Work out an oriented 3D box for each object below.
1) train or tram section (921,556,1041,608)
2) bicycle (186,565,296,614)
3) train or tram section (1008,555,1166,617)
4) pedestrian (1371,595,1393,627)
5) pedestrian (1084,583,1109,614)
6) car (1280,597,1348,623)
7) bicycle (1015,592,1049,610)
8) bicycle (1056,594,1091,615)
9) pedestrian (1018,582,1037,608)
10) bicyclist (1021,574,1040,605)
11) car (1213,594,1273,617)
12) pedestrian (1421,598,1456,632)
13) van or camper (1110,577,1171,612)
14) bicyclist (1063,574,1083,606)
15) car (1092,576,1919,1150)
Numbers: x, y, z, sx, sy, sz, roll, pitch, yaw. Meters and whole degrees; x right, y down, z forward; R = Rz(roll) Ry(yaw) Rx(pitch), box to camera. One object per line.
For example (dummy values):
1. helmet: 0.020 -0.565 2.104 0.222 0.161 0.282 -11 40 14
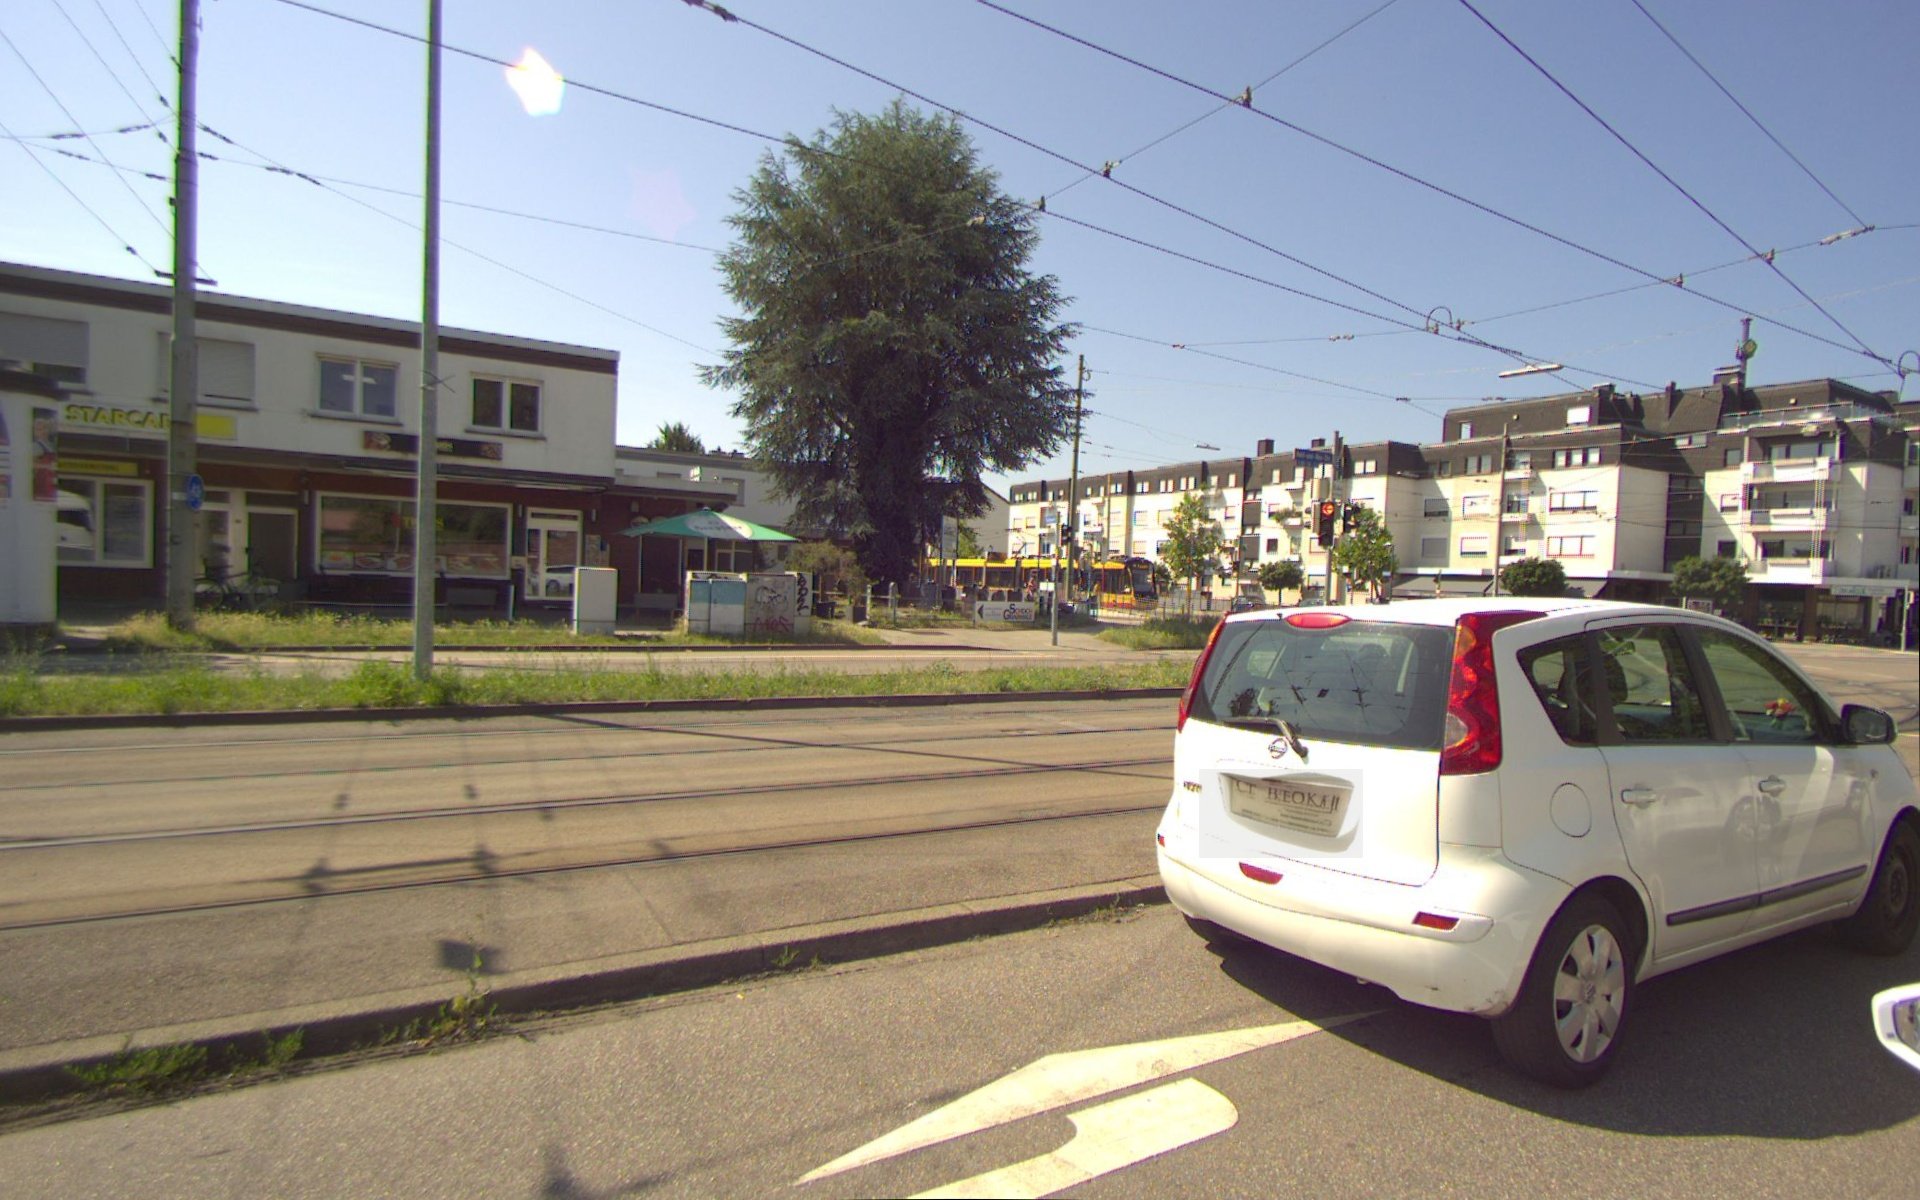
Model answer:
1. train or tram section: 1.365 -1.496 79.807 2.736 3.707 13.796 2 1 -30
2. bicycle: -15.833 -0.224 22.175 1.889 0.996 0.754 2 1 -30
3. train or tram section: 8.180 -1.072 67.818 2.736 3.707 13.796 2 1 -30
4. pedestrian: 24.147 0.611 57.457 0.798 1.783 0.761 2 1 -16
5. pedestrian: 8.330 -0.085 61.378 0.886 1.862 1.192 2 1 -30
6. car: 23.756 0.654 67.518 1.807 1.520 4.151 2 1 -30
7. bicycle: 3.847 0.060 53.791 0.570 0.902 2.114 1 1 -36
8. bicycle: 5.720 0.205 50.817 0.529 0.959 2.118 2 1 -31
9. pedestrian: 4.619 -0.355 68.552 0.804 1.703 1.085 2 1 -30
10. bicyclist: 3.777 -0.561 53.716 0.625 1.596 0.759 2 1 -31
11. car: 20.486 0.398 72.842 1.807 1.520 3.967 2 1 -30
12. pedestrian: 27.466 0.860 57.639 1.410 1.860 1.123 2 1 3
13. van or camper: 14.817 -0.470 82.756 2.349 2.659 4.850 2 1 -31
14. bicyclist: 5.702 -0.521 50.743 0.624 1.579 0.760 2 0 -27
15. car: 2.747 0.771 4.554 4.019 1.582 1.757 2 0 -30
